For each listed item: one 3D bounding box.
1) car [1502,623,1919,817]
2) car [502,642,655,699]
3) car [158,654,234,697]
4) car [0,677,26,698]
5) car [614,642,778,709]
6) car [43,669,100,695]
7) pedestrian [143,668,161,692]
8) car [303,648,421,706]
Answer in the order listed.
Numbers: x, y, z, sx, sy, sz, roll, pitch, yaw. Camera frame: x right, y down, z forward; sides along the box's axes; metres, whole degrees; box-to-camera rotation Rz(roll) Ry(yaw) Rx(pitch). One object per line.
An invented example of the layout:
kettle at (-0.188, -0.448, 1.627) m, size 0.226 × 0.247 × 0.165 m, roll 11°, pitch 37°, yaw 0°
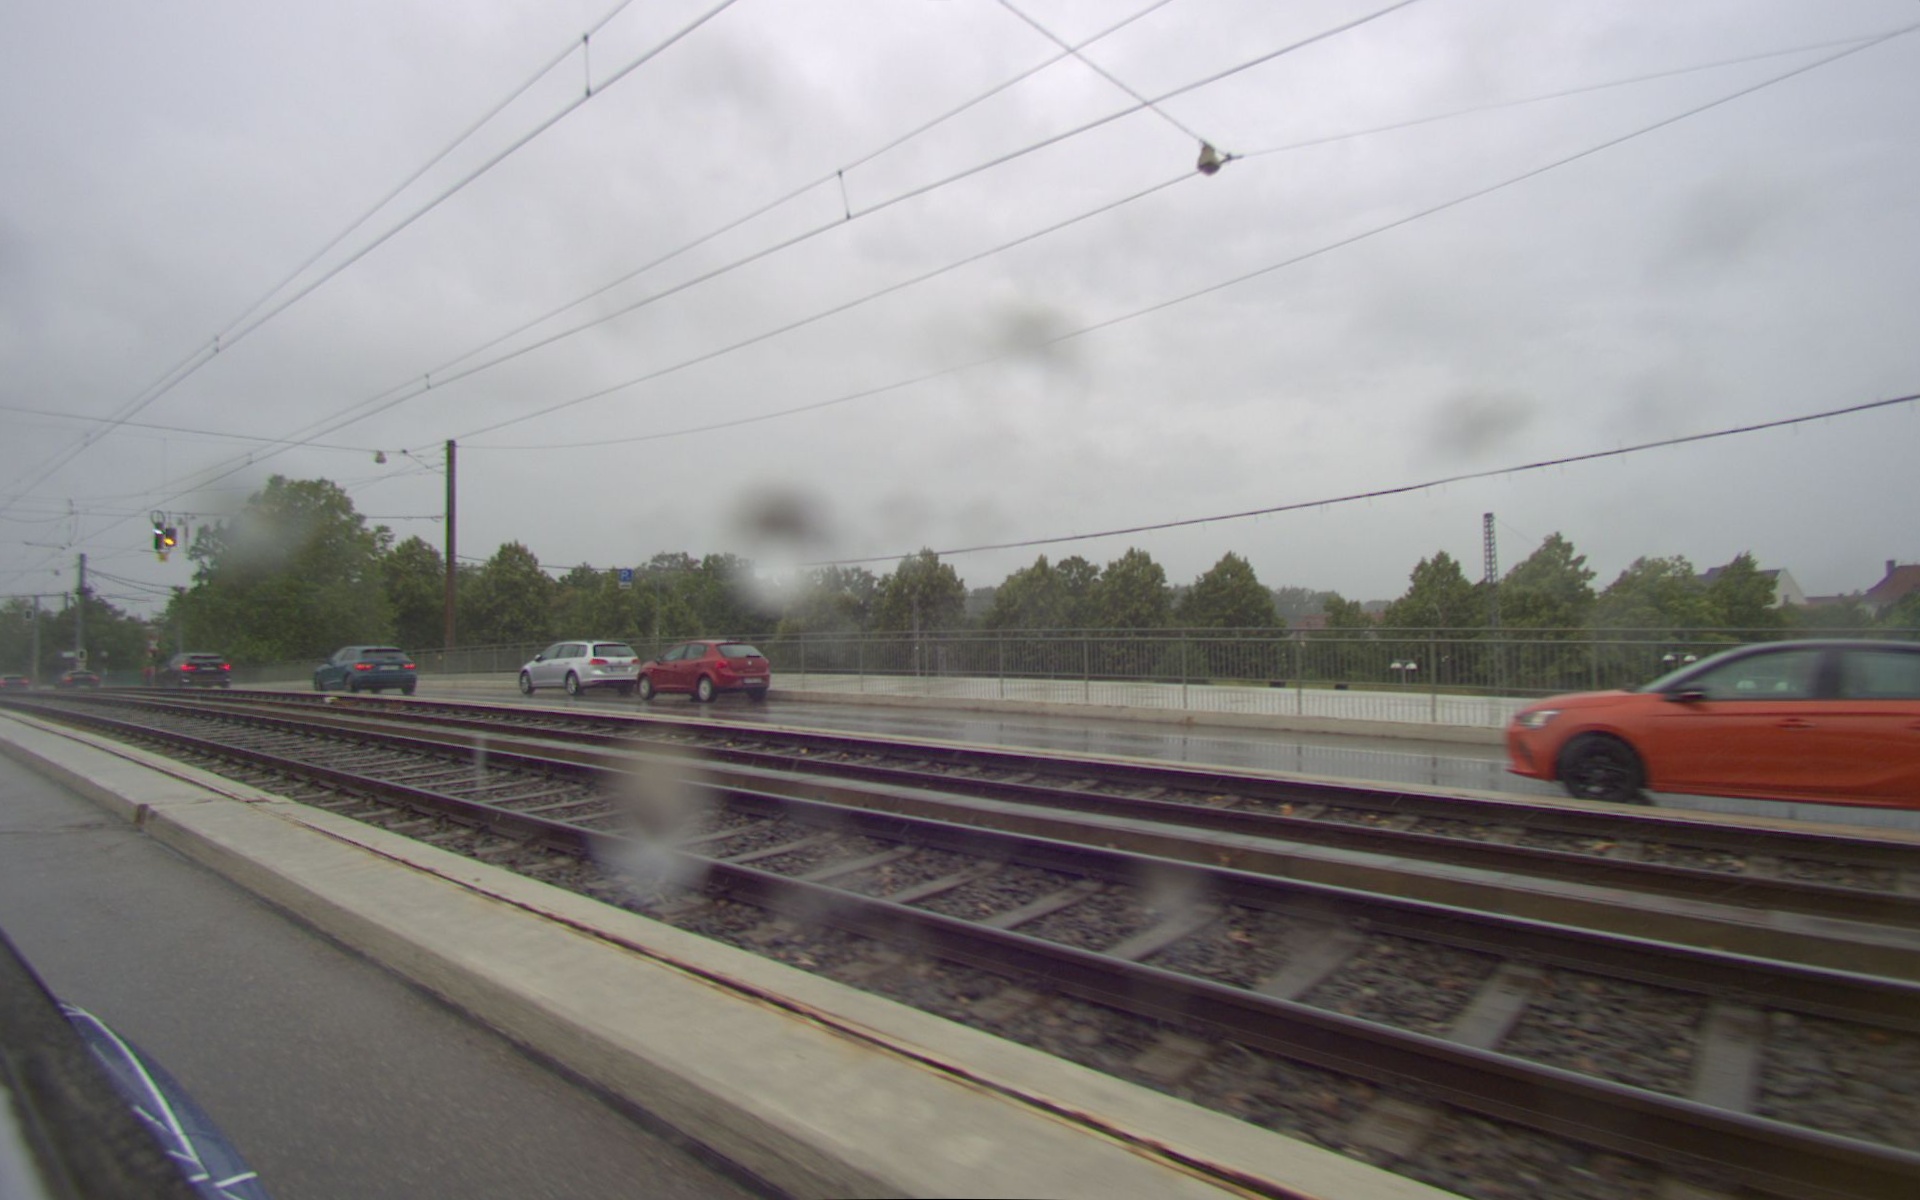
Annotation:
car at (6.934, 0.895, 8.276) m, size 4.081 × 1.326 × 1.780 m, roll -3°, pitch -1°, yaw 41°
car at (-10.714, 1.941, 28.263) m, size 4.616 × 1.467 × 1.973 m, roll -3°, pitch -5°, yaw 40°
car at (-32.461, 3.170, 42.979) m, size 3.998 × 1.667 × 1.799 m, roll -3°, pitch -1°, yaw 41°
car at (-72.230, 6.562, 76.174) m, size 5.107 × 1.521 × 1.974 m, roll -3°, pitch -5°, yaw 38°
car at (-6.382, 1.778, 24.279) m, size 4.319 × 1.467 × 1.604 m, roll -3°, pitch -5°, yaw 40°
car at (-53.782, 4.930, 61.232) m, size 4.088 × 1.521 × 1.973 m, roll -3°, pitch -5°, yaw 40°
pedestrian at (-64.853, 6.443, 81.229) m, size 1.041 × 1.832 × 0.856 m, roll -3°, pitch -1°, yaw 39°
car at (-17.503, 2.201, 29.564) m, size 4.081 × 1.493 × 1.780 m, roll -3°, pitch -1°, yaw 41°
